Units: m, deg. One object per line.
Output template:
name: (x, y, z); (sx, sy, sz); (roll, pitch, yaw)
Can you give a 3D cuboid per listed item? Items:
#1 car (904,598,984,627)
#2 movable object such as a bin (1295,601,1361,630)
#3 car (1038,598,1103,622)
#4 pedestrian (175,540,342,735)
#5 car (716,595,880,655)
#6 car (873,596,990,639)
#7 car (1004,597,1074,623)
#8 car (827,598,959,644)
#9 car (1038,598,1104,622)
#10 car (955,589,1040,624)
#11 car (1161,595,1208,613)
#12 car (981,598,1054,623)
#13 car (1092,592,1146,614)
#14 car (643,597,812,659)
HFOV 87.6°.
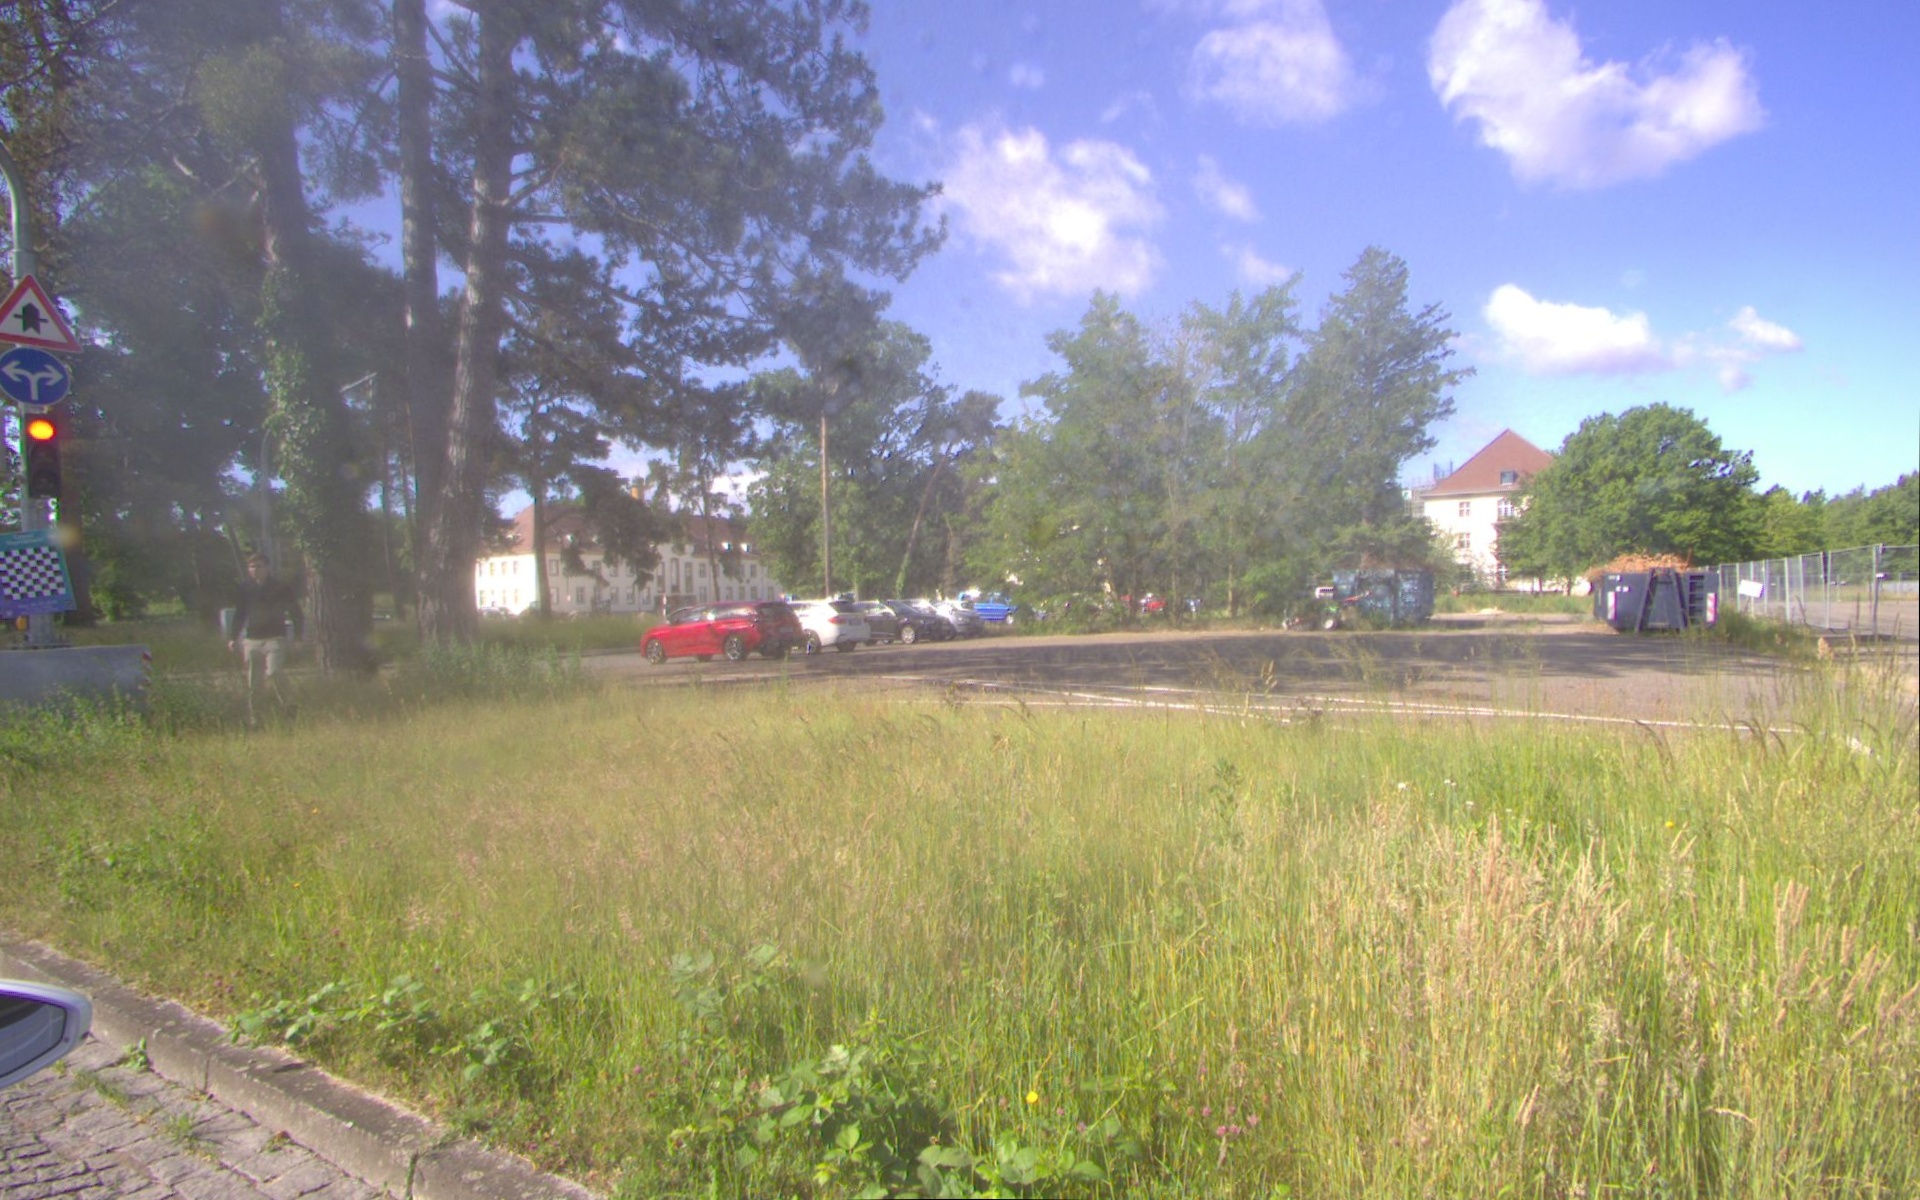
car: (-0.890, 0.706, 55.081); (4.180, 1.487, 1.720); (-1, -1, 32)
movable object such as a bin: (10.498, 0.445, 28.546); (1.696, 0.762, 1.143); (-1, 0, 25)
car: (7.657, 0.699, 69.370); (4.180, 1.568, 1.720); (-1, -1, 32)
pedestrian: (-7.001, 0.339, 10.082); (1.153, 1.820, 1.058); (-2, 1, -26)
car: (-4.434, 0.687, 27.222); (4.179, 1.396, 1.776); (-3, -1, 30)
car: (-0.995, 0.604, 34.484); (3.739, 1.390, 1.720); (-1, -1, 34)
car: (5.045, 0.645, 64.131); (4.180, 1.568, 1.720); (-1, -1, 32)
car: (-2.145, 0.658, 31.788); (3.987, 1.332, 1.612); (-1, 1, 33)
car: (7.672, 0.699, 69.361); (4.180, 1.568, 1.720); (-1, -1, 32)
car: (2.180, 0.395, 59.205); (4.676, 1.973, 1.982); (-1, -1, 32)
car: (19.625, 0.363, 87.556); (3.681, 1.568, 1.705); (-1, -1, 32)
car: (3.502, 0.643, 61.529); (4.180, 1.443, 1.720); (-1, -1, 32)
car: (11.988, 0.259, 75.740); (3.681, 1.568, 1.705); (-1, -1, 32)
car: (-5.765, 0.709, 24.660); (4.071, 1.417, 1.652); (-2, -1, 32)
